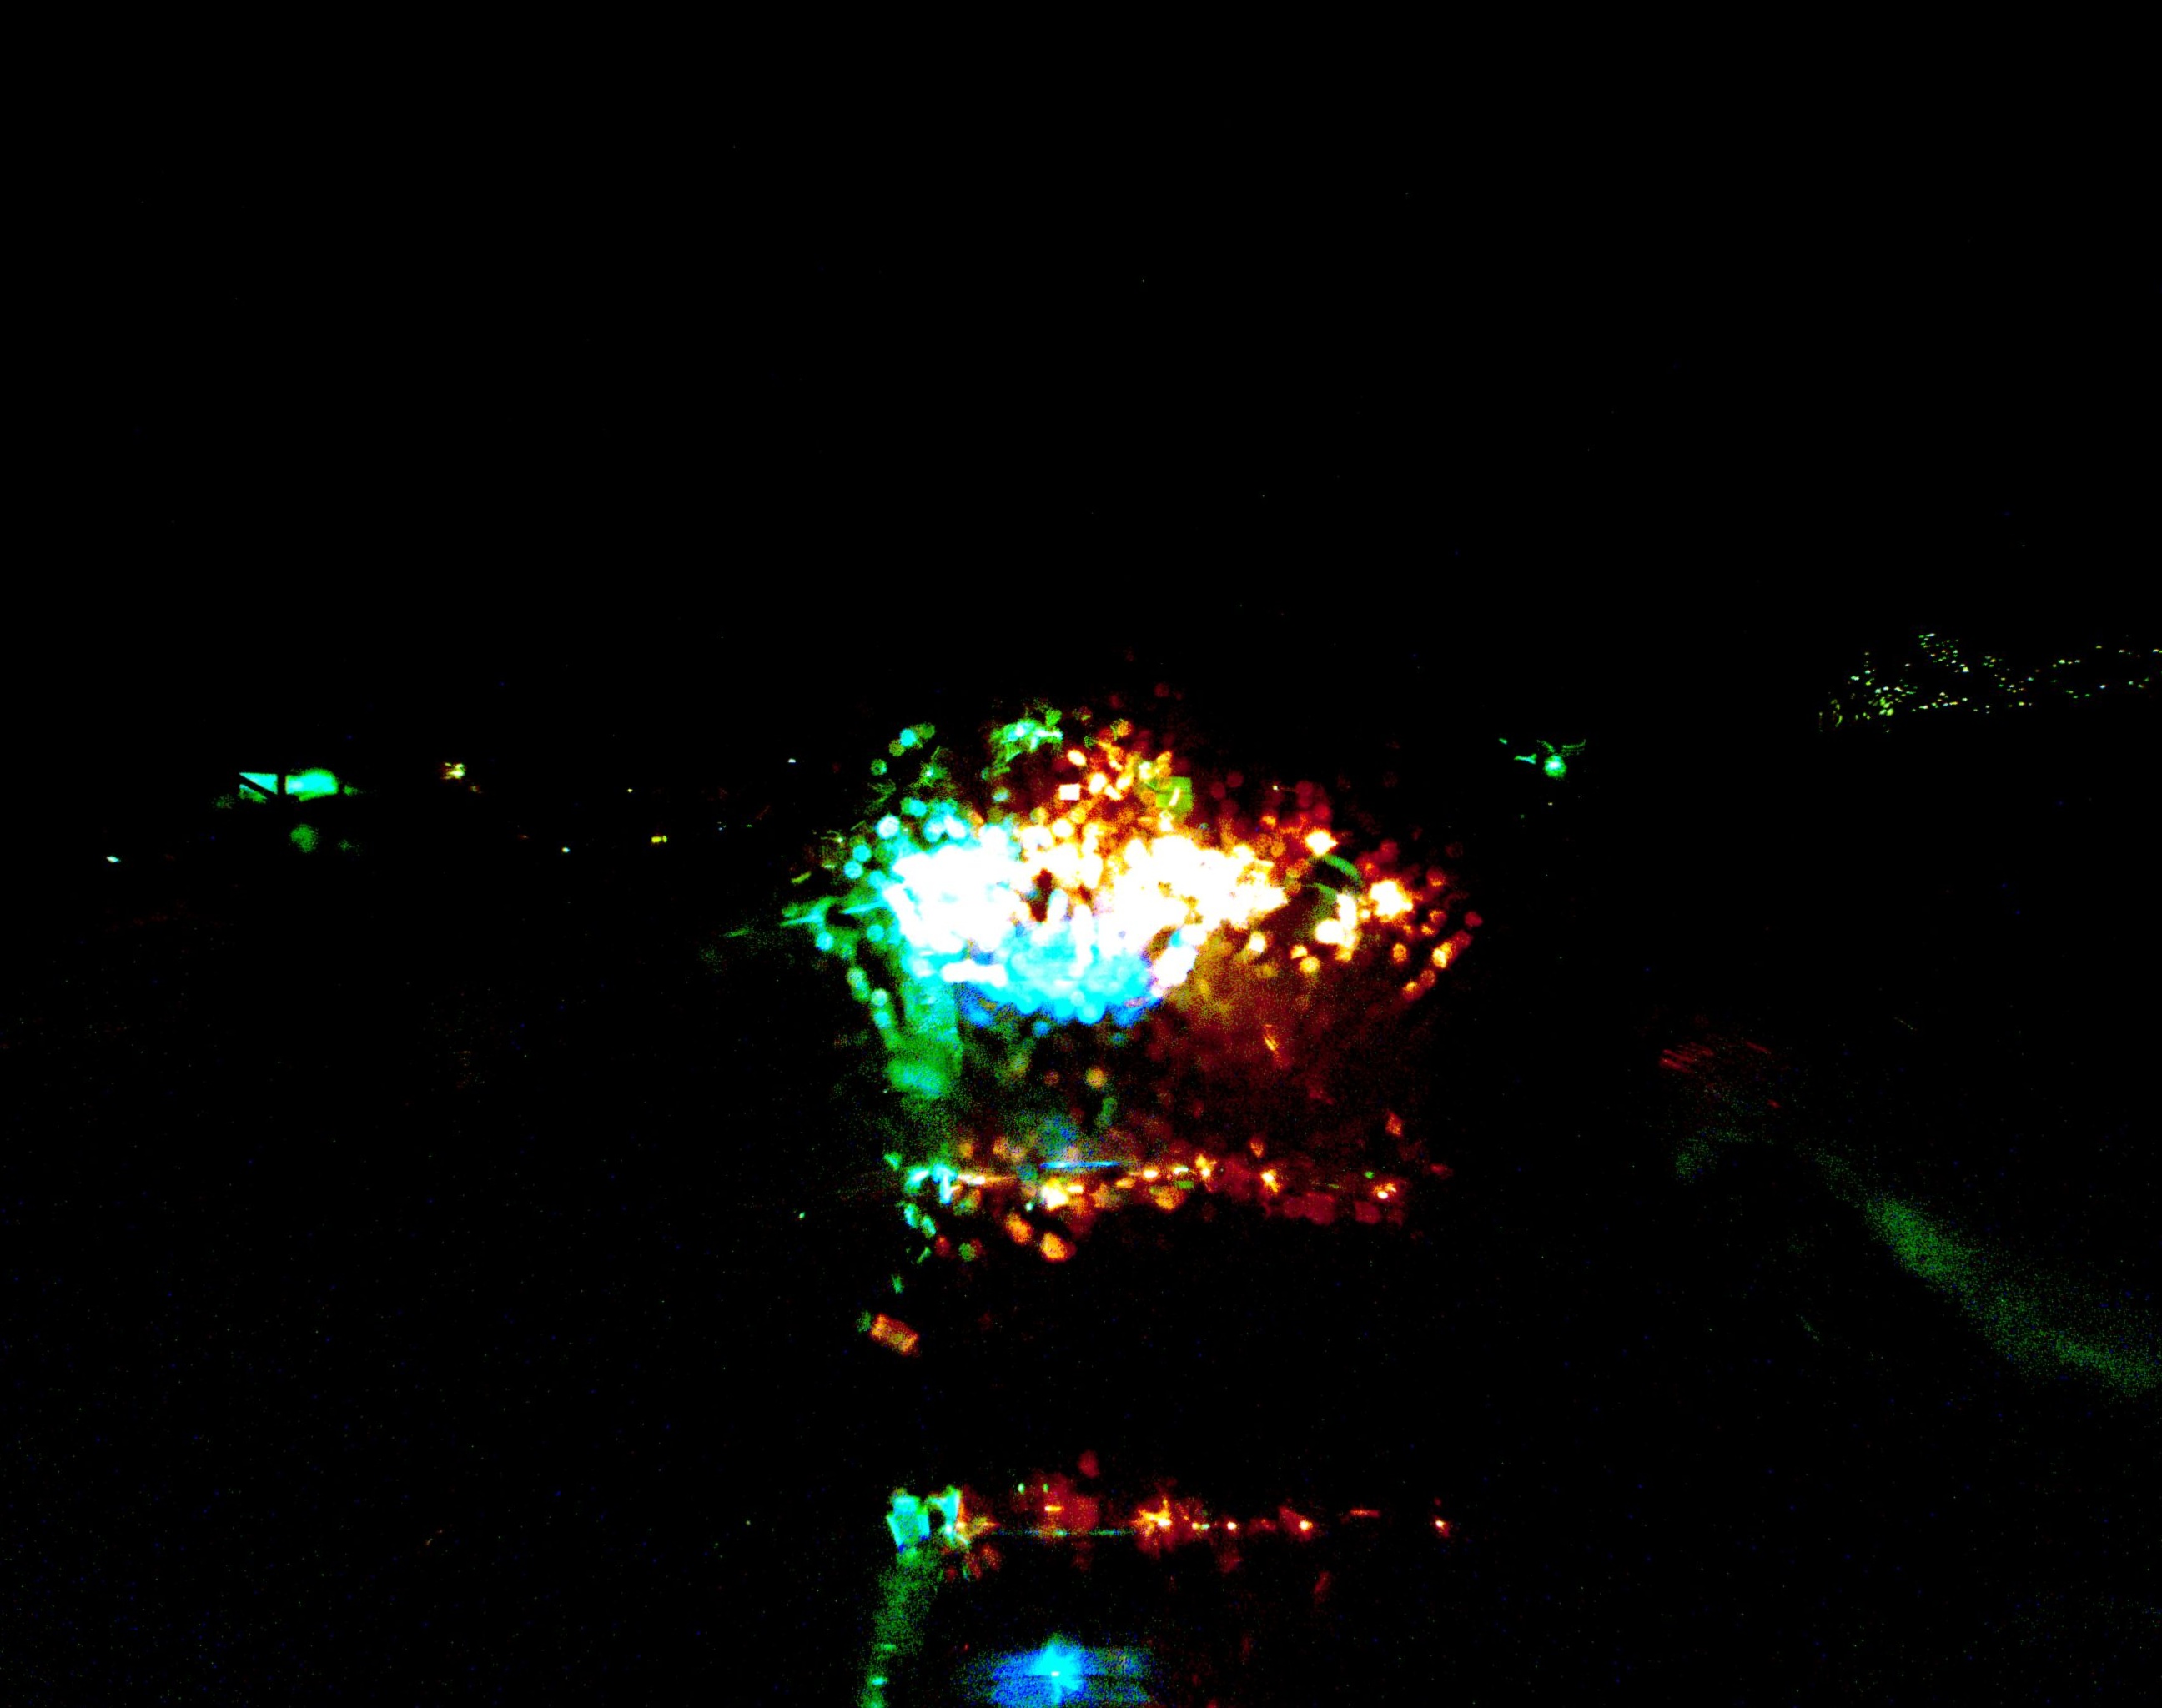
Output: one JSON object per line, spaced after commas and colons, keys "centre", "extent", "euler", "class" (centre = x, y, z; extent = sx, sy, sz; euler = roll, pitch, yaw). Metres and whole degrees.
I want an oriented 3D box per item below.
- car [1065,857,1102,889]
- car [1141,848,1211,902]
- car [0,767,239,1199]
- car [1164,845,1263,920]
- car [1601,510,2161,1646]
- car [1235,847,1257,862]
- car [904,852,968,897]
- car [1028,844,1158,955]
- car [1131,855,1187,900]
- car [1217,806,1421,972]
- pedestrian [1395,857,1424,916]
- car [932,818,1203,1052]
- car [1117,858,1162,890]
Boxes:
{"centre": [0.081, 1.090, 48.669], "extent": [1.989, 1.824, 3.995], "euler": [0, -1, -3], "class": "car"}
{"centre": [3.129, 0.680, 27.572], "extent": [1.986, 1.670, 4.001], "euler": [0, -1, 2], "class": "car"}
{"centre": [-6.125, 0.615, 2.493], "extent": [2.077, 2.014, 4.715], "euler": [-1, 0, 2], "class": "car"}
{"centre": [3.282, 0.674, 20.940], "extent": [1.986, 1.718, 4.001], "euler": [0, -1, 2], "class": "car"}
{"centre": [2.673, 0.359, 0.645], "extent": [1.845, 1.865, 4.342], "euler": [0, -1, 2], "class": "car"}
{"centre": [19.105, 0.042, 94.428], "extent": [1.857, 1.646, 3.965], "euler": [-3, -1, 2], "class": "car"}
{"centre": [-5.796, 0.771, 32.970], "extent": [1.883, 1.568, 4.483], "euler": [-1, 1, -2], "class": "car"}
{"centre": [0.249, 0.717, 14.548], "extent": [1.986, 1.684, 4.001], "euler": [0, -1, 2], "class": "car"}
{"centre": [3.213, 0.932, 34.076], "extent": [1.987, 1.773, 4.000], "euler": [0, -1, 0], "class": "car"}
{"centre": [3.289, 0.452, 12.123], "extent": [1.961, 2.047, 4.001], "euler": [0, -1, 2], "class": "car"}
{"centre": [9.593, 0.929, 23.804], "extent": [0.621, 1.701, 0.541], "euler": [0, -1, -1], "class": "pedestrian"}
{"centre": [-0.111, 0.613, 8.279], "extent": [2.008, 1.717, 4.450], "euler": [0, -1, -1], "class": "car"}
{"centre": [2.886, 0.977, 41.042], "extent": [1.853, 1.544, 3.927], "euler": [0, -1, -2], "class": "car"}
